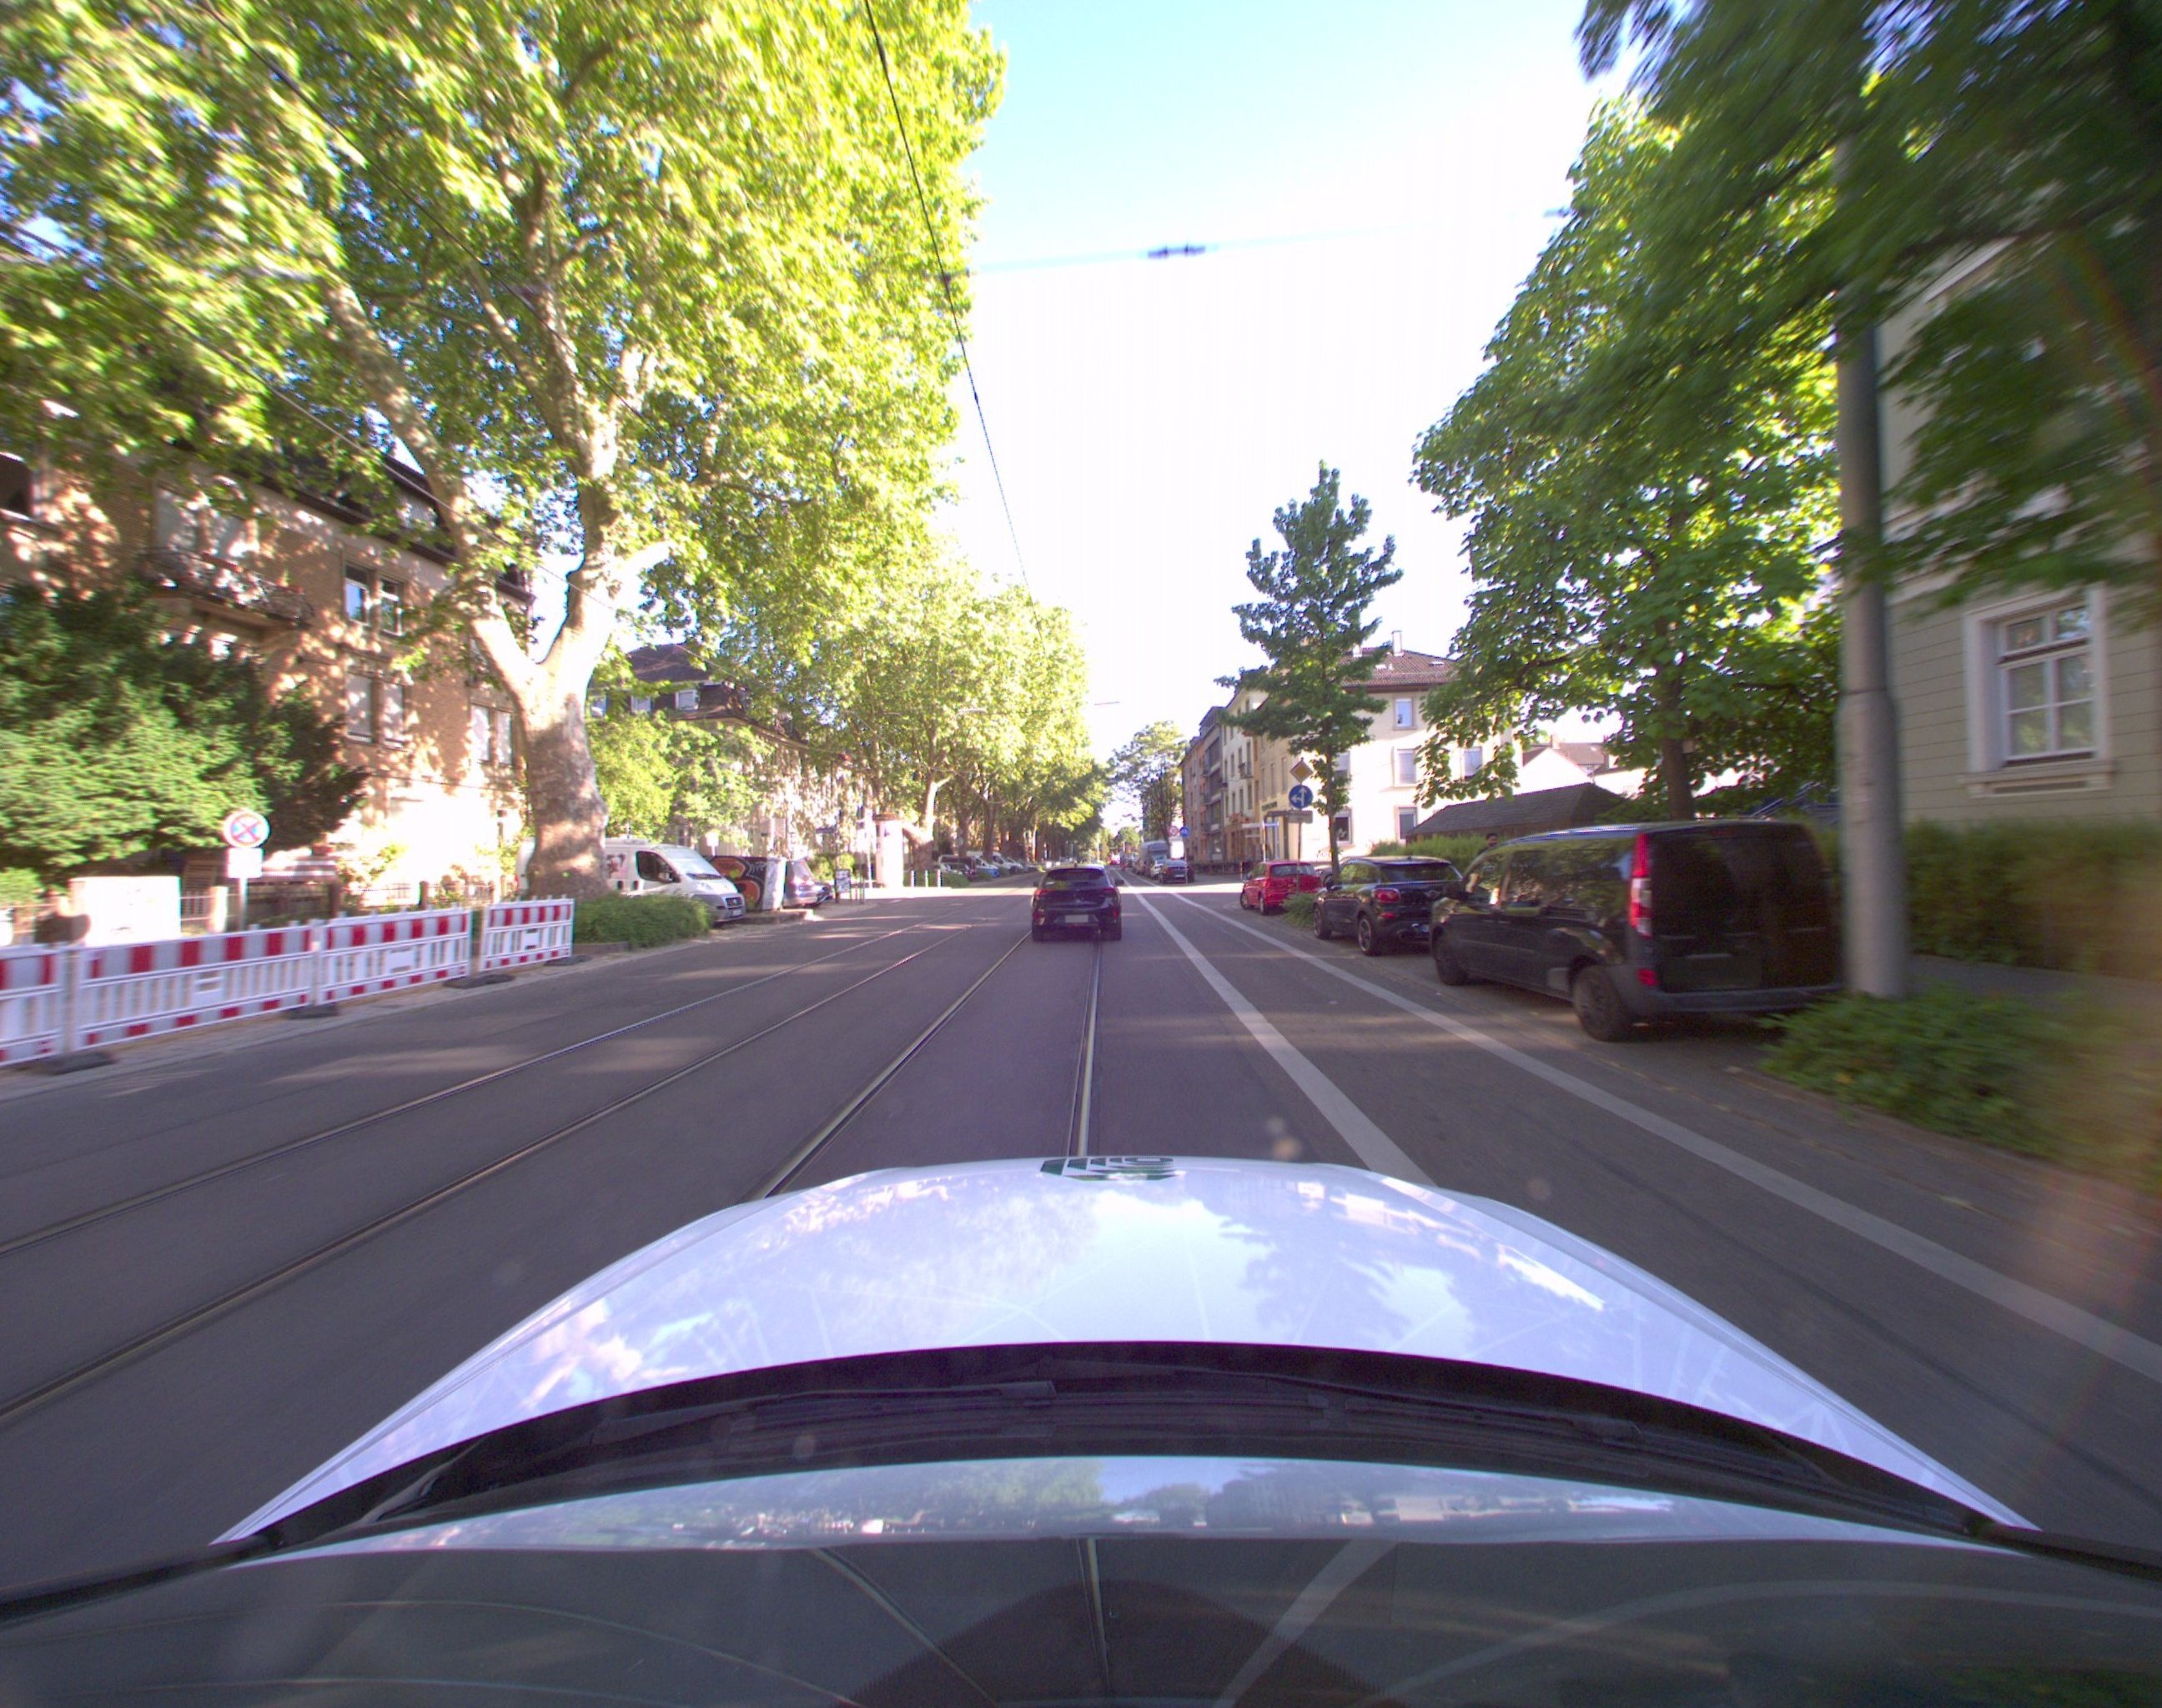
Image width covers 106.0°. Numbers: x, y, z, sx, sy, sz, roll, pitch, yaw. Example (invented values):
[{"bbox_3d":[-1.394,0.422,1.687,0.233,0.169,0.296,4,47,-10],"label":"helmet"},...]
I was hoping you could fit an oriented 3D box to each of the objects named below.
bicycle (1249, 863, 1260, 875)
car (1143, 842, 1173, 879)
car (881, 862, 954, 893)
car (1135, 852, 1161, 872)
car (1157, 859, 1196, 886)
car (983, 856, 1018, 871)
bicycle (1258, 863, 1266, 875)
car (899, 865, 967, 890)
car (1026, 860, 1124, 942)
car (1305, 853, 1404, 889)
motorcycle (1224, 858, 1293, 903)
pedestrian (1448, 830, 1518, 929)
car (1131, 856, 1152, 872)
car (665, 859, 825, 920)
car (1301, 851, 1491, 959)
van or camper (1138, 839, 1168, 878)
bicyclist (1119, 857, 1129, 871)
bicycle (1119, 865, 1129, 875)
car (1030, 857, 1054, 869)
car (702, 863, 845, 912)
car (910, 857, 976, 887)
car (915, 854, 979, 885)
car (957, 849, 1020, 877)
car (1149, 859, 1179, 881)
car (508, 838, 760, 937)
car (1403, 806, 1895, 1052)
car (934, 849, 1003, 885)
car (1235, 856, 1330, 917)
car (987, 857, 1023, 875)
[{"bbox_3d":[11.585,1.000,54.527,0.408,0.789,1.792,-1,0,2],"label":"bicycle"},{"bbox_3d":[6.227,0.498,66.370,2.077,2.772,4.699,-3,0,2],"label":"car"},{"bbox_3d":[-10.431,1.496,52.293,4.294,1.593,1.778,-5,-1,-6],"label":"car"},{"bbox_3d":[6.534,0.780,80.132,2.246,1.840,5.533,-3,0,2],"label":"car"},{"bbox_3d":[5.691,1.059,49.066,1.877,1.434,4.531,-4,0,2],"label":"car"},{"bbox_3d":[-9.863,1.189,99.706,4.173,1.794,1.995,-1,-1,-8],"label":"car"},{"bbox_3d":[11.889,0.989,53.339,0.471,0.789,1.798,-1,0,13],"label":"bicycle"},{"bbox_3d":[-9.946,1.574,55.005,4.294,1.290,1.707,-5,-1,-6],"label":"car"},{"bbox_3d":[-0.046,0.863,16.649,1.756,1.460,3.952,-1,0,2],"label":"car"},{"bbox_3d":[13.114,0.799,39.237,4.167,1.598,1.893,-1,0,5],"label":"car"},{"bbox_3d":[5.916,0.892,27.114,2.073,1.358,0.928,-4,-2,18],"label":"motorcycle"},{"bbox_3d":[7.375,0.449,14.972,0.826,1.711,0.836,-4,1,3],"label":"pedestrian"},{"bbox_3d":[7.543,1.193,101.621,2.246,1.840,5.533,-3,0,2],"label":"car"},{"bbox_3d":[-10.685,1.095,26.144,4.287,1.801,1.925,-1,0,-1],"label":"car"},{"bbox_3d":[5.268,0.775,14.220,1.706,1.514,4.036,-4,-1,0],"label":"car"},{"bbox_3d":[6.403,0.389,72.934,2.246,3.216,5.533,-3,-1,2],"label":"van or camper"},{"bbox_3d":[4.480,1.063,85.081,0.955,1.499,1.094,-1,-1,0],"label":"bicyclist"},{"bbox_3d":[4.502,1.681,85.086,0.964,0.999,2.583,-1,0,0],"label":"bicycle"},{"bbox_3d":[-6.759,1.637,141.350,3.965,2.014,2.004,-1,-1,8],"label":"car"},{"bbox_3d":[-10.775,1.153,28.780,4.287,1.607,1.925,-1,0,-1],"label":"car"},{"bbox_3d":[-9.634,1.238,57.037,4.294,1.674,1.778,-5,-1,-6],"label":"car"},{"bbox_3d":[-9.732,1.144,59.370,4.294,1.840,1.778,-5,-1,-6],"label":"car"},{"bbox_3d":[-8.927,0.878,78.779,5.611,2.593,2.199,-1,-1,5],"label":"car"},{"bbox_3d":[5.975,1.186,59.156,1.797,1.434,4.001,-3,-2,2],"label":"car"},{"bbox_3d":[-10.917,0.780,20.212,5.019,2.259,2.084,-1,0,-2],"label":"car"},{"bbox_3d":[5.181,0.576,8.453,1.879,1.766,4.679,-3,0,2],"label":"car"},{"bbox_3d":[-9.079,1.043,66.058,5.017,2.374,2.082,-5,-1,1],"label":"car"},{"bbox_3d":[5.561,0.854,22.946,1.696,1.423,3.980,-5,-1,2],"label":"car"},{"bbox_3d":[-8.628,1.340,92.036,3.984,2.014,1.995,-1,-1,-8],"label":"car"}]
